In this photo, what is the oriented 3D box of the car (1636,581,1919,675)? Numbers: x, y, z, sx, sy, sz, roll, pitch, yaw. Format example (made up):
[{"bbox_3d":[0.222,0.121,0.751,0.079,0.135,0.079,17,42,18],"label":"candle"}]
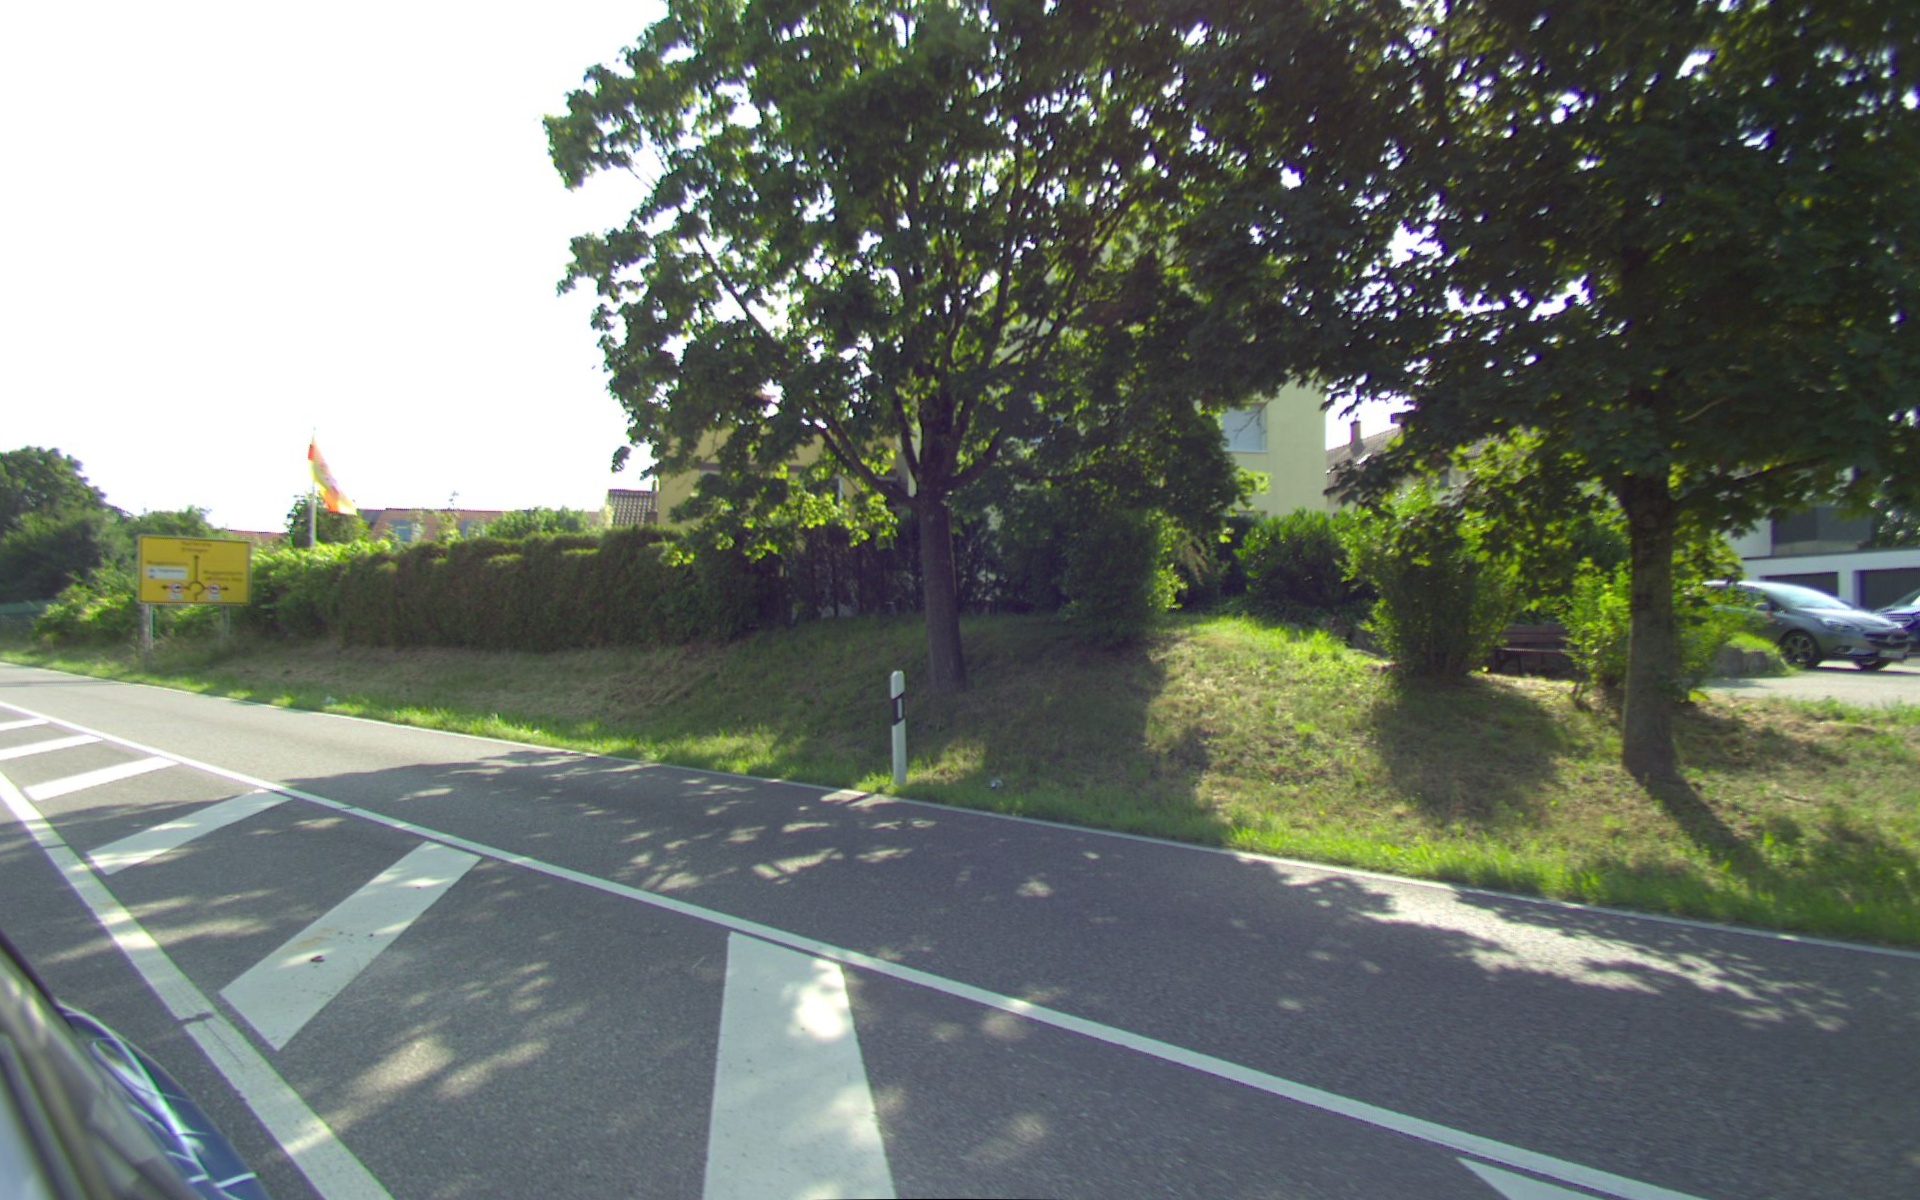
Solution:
[{"bbox_3d":[14.734,0.500,18.151,1.838,1.474,4.243,0,-2,-11],"label":"car"}]

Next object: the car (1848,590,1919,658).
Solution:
[{"bbox_3d":[22.420,0.529,22.303,4.077,1.459,1.870,0,-1,-2],"label":"car"}]
